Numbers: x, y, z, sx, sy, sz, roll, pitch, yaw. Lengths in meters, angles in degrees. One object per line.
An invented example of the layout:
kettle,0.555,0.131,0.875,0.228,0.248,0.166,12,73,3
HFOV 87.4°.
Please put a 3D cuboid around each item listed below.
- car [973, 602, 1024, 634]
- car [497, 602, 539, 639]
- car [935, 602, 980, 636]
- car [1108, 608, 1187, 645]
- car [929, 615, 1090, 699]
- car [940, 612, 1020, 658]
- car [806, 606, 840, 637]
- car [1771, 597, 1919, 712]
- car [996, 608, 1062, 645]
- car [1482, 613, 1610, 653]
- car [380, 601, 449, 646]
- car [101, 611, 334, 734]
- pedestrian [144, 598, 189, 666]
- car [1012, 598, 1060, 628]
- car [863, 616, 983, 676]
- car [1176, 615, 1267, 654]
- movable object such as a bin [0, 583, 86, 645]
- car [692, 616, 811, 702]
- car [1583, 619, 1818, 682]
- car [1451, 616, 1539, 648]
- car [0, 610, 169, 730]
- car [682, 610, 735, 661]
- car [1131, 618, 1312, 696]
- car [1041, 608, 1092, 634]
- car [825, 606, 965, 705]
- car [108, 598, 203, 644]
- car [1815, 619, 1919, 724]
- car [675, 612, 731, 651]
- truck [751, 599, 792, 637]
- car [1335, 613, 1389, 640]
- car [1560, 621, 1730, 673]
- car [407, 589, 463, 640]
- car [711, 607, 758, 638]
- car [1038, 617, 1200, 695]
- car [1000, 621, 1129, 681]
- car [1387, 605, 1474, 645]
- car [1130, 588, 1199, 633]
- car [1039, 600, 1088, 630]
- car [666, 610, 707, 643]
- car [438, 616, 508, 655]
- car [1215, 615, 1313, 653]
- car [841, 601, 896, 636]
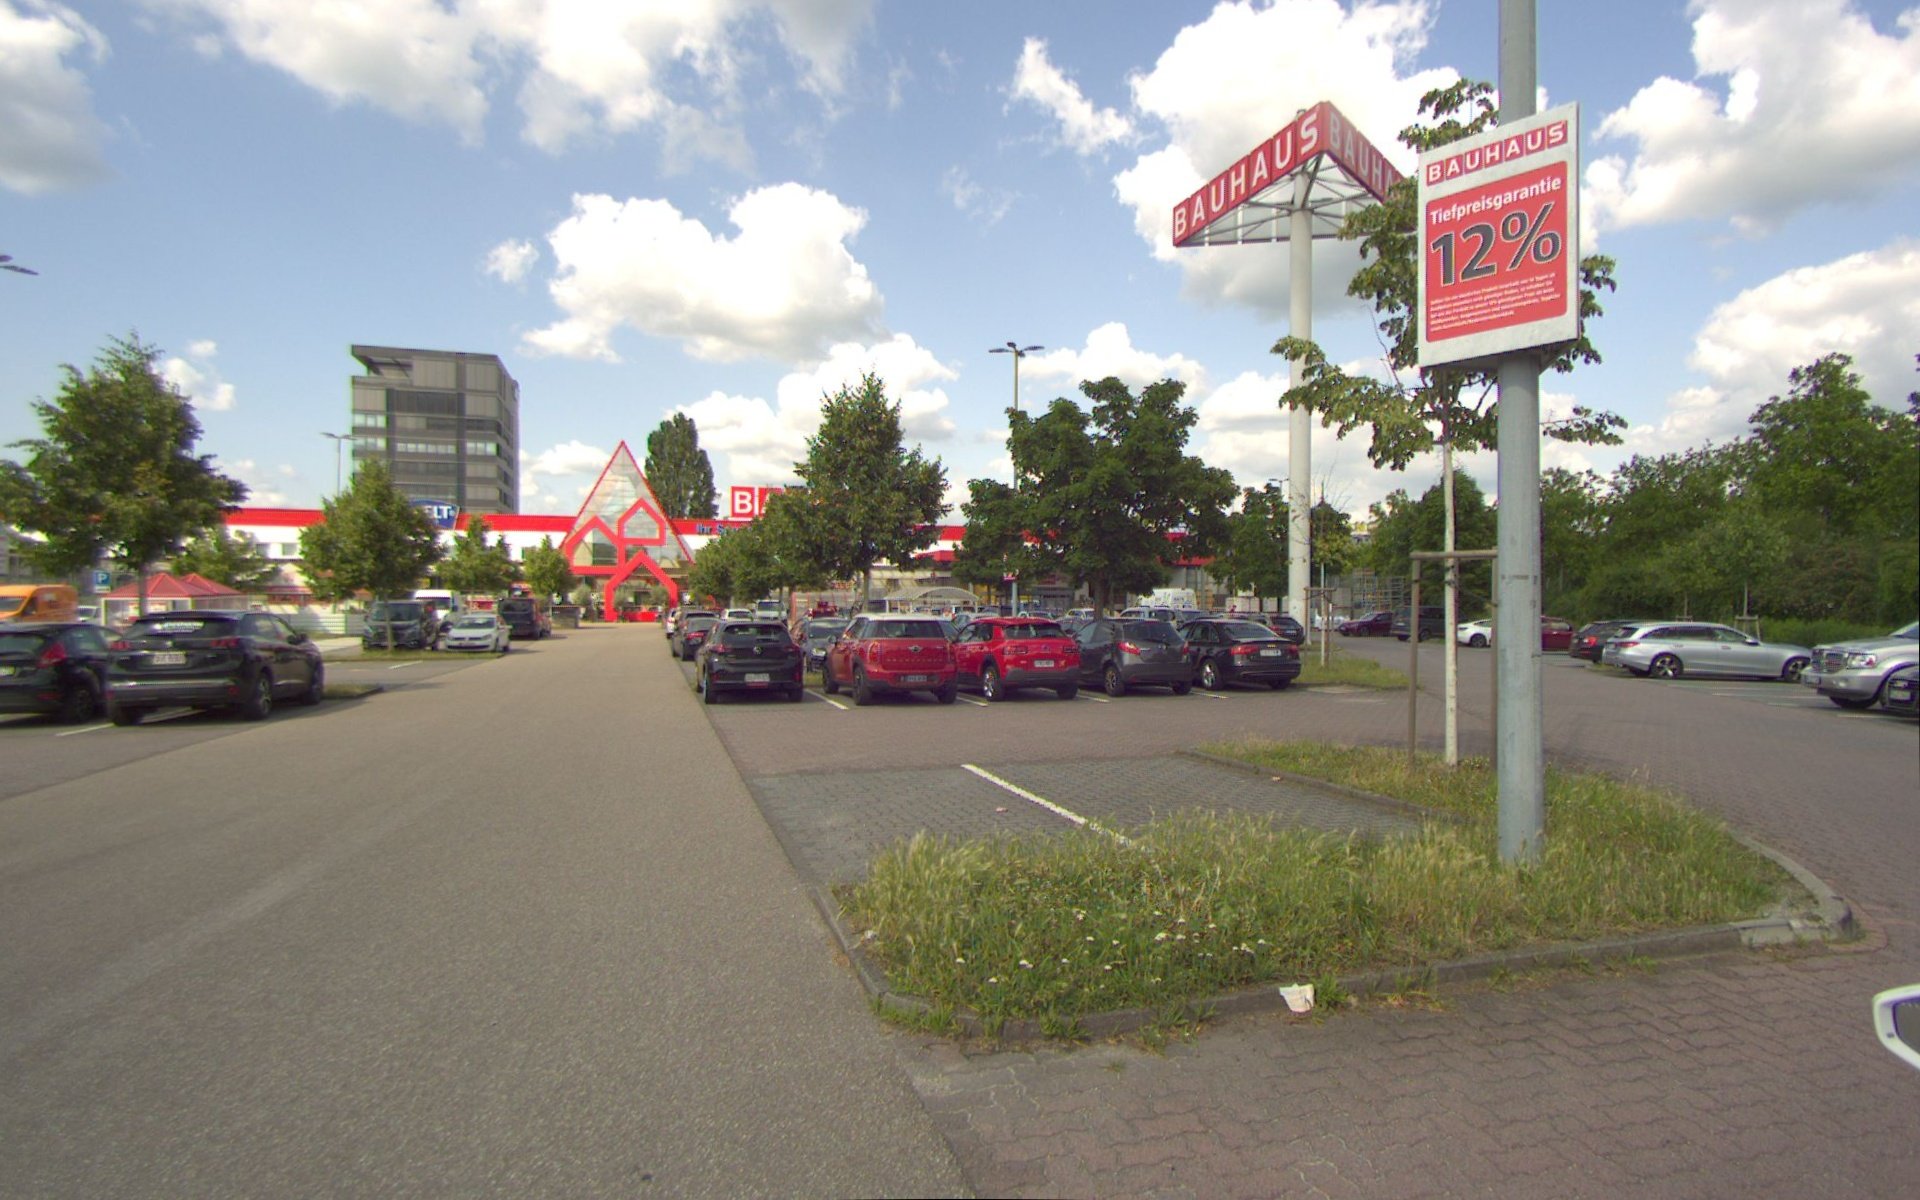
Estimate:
car,2.128,0.963,56.261,1.737,1.546,3.455,-1,3,-18
car,-21.130,0.986,48.047,1.672,1.635,2.643,3,-2,-22
car,-0.145,1.052,56.055,1.577,1.766,3.154,-1,0,-18
car,8.557,1.199,46.227,1.881,1.617,3.983,0,-1,-19
car,0.826,1.003,19.428,1.739,1.417,4.071,0,-1,-19
car,0.698,1.263,37.407,1.726,1.636,3.707,0,-1,-21
car,-9.739,1.526,71.064,1.966,2.040,3.991,3,-2,-13
car,17.104,0.884,16.856,5.044,1.867,1.991,0,0,16
car,3.105,1.175,45.946,1.692,1.617,3.985,0,-1,-17
car,24.418,1.342,42.002,4.233,1.617,2.001,0,0,15
car,-25.617,1.076,47.324,1.967,2.040,3.988,0,-1,-15
car,-11.344,1.000,15.692,1.756,1.646,4.067,0,-1,-19
pedestrian,-24.210,0.967,30.673,0.804,2.040,0.911,0,0,-19
car,5.470,0.977,72.958,1.970,2.040,3.982,3,-2,-20
car,-1.045,1.089,25.487,1.865,1.371,4.262,0,-1,-20
car,10.457,1.355,40.413,1.700,1.466,3.755,0,-1,-21
movable object such as a bin,-40.396,0.612,43.578,2.099,2.527,5.309,0,-1,-22
car,-3.970,1.010,18.682,1.702,1.387,3.867,0,-1,-19
car,19.034,1.261,26.054,4.561,1.524,1.785,0,0,17
car,26.179,1.564,49.282,3.571,1.487,1.635,0,-2,17
car,-13.816,0.972,15.362,1.758,1.646,3.687,0,-1,-22
car,-8.545,1.169,34.032,1.671,1.624,3.212,0,-1,-15
car,5.435,1.123,21.555,1.742,1.452,4.528,0,-1,-15
car,6.161,1.214,58.312,1.519,1.423,3.611,3,-2,-18
car,-1.273,0.917,18.189,1.683,1.602,3.432,0,-1,-19
car,-39.515,1.029,49.485,1.969,2.040,4.789,3,-2,-18
car,15.720,1.030,14.617,4.631,1.470,1.840,0,0,18
car,-10.562,1.248,41.101,1.968,1.487,4.399,0,-1,-18
truck,-11.138,1.047,59.114,1.830,2.040,5.391,3,-2,-15
car,23.783,1.577,59.416,2.642,1.450,1.352,3,-2,-10
car,20.771,1.413,30.612,3.919,1.399,1.700,1,-2,16
car,-28.474,0.789,54.585,2.206,2.671,4.307,1,-1,-22
car,-11.709,1.123,51.968,1.969,1.529,3.983,0,-1,-19
car,3.087,1.049,20.343,1.555,1.387,3.983,0,-1,-19
car,2.650,1.302,26.393,1.766,1.369,4.048,4,-2,-19
car,25.764,1.373,55.019,3.988,2.045,1.942,2,-1,-13
car,12.159,0.580,59.958,2.020,2.543,4.711,1,0,-17
car,7.543,1.132,73.733,1.970,2.040,3.982,3,-2,-20
car,-13.717,1.302,50.217,1.702,1.528,3.223,3,-2,-19
car,-18.316,1.306,37.928,1.714,1.405,3.550,0,-1,-15
car,12.593,1.381,41.852,1.801,1.458,4.071,0,-1,-21
car,-4.945,0.978,53.713,1.970,1.802,3.982,0,-1,-20
